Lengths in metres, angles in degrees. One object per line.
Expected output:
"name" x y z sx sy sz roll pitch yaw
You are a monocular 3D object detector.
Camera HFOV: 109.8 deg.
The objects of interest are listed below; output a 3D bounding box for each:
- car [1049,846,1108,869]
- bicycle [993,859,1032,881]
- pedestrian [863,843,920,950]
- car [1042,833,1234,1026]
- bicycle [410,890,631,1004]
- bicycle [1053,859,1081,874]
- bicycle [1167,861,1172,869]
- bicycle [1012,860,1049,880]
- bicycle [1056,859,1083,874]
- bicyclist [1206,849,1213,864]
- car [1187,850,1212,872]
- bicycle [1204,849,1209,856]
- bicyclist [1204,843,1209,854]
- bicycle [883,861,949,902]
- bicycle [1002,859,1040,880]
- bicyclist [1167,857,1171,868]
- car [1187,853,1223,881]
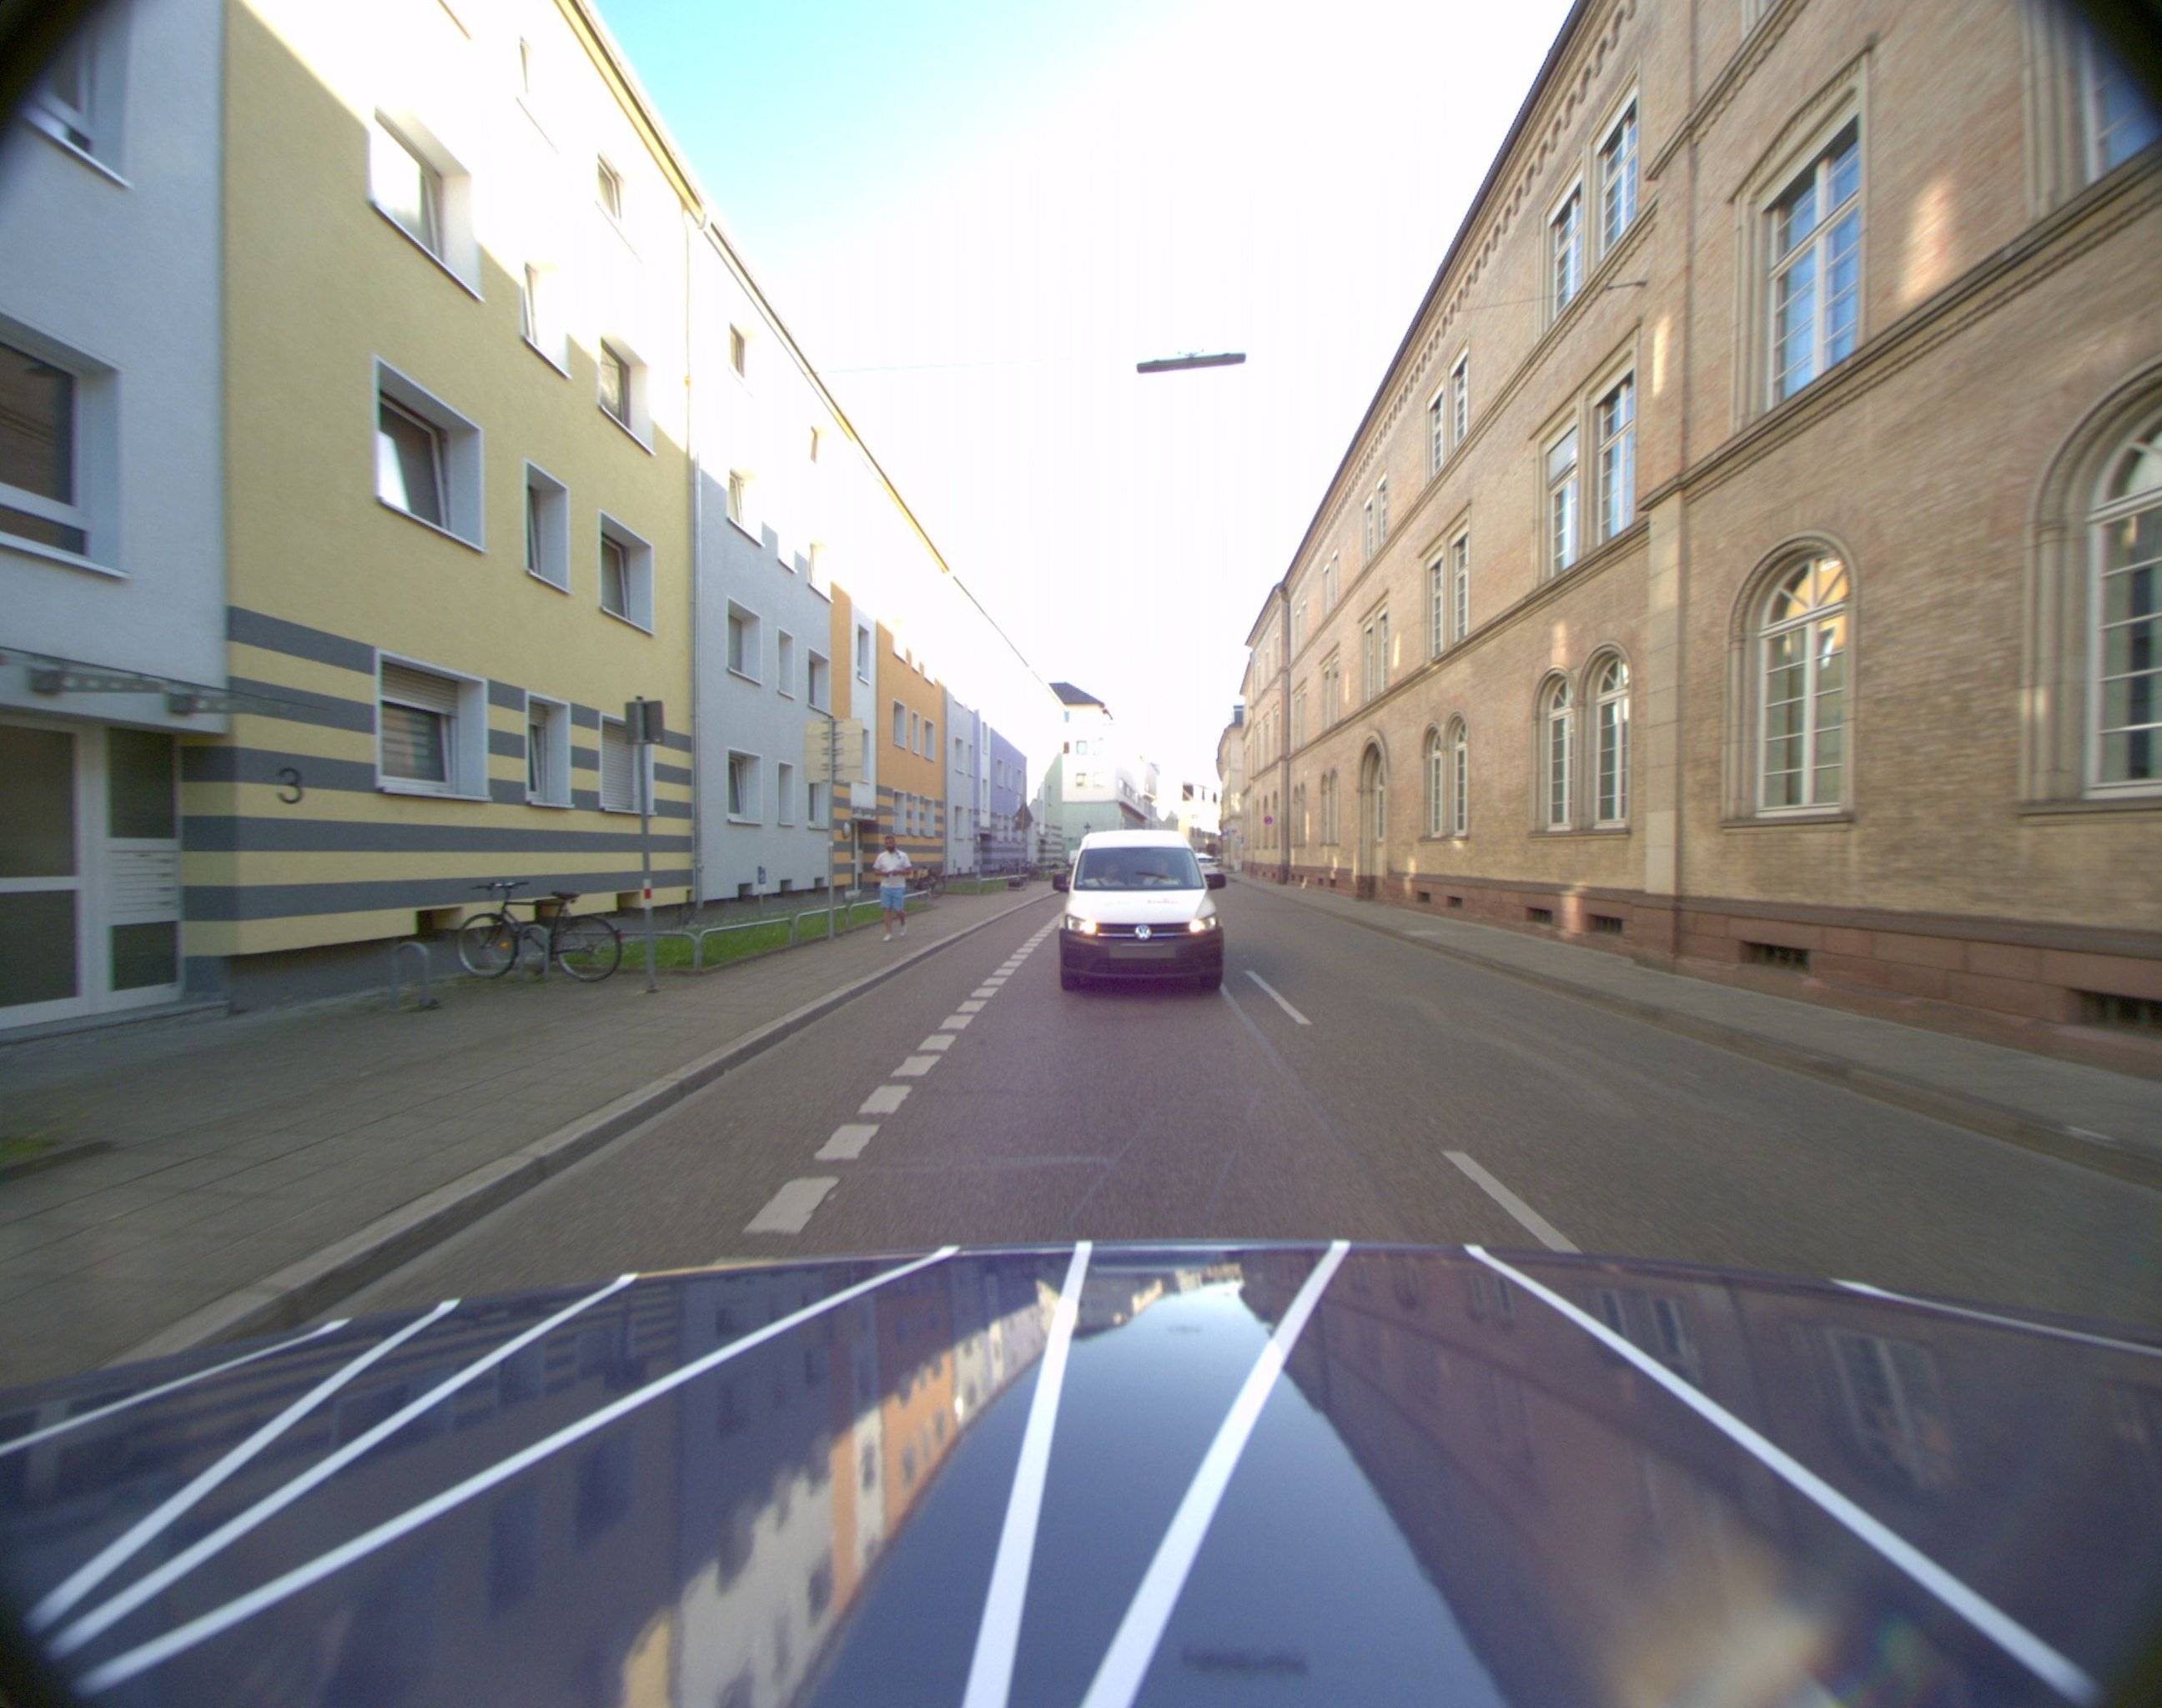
"car" -0.177 0.274 64.797 4.761 1.927 2.001 0 1 10
"bicycle" -3.310 0.784 36.774 1.775 0.990 0.584 2 1 9
"pedestrian" -3.057 0.665 12.327 0.644 1.662 0.834 1 1 4
"car" 0.649 0.703 9.893 1.819 1.826 5.341 0 0 2
"bicycle" -5.658 0.929 7.738 1.777 1.043 0.583 2 1 -3
"bicycle" -0.912 0.855 50.929 1.775 0.934 0.584 2 1 9
"bicycle" 8.740 1.077 75.181 0.348 0.719 1.118 0 1 12
"bicycle" -2.590 0.800 38.714 1.775 0.934 0.584 2 1 9
"bicycle" -0.790 0.875 52.464 1.775 0.934 0.584 2 1 9
"bicyclist" 12.688 0.229 74.881 0.604 1.434 0.578 0 1 6
"car" 9.129 0.516 58.603 1.688 1.573 4.277 2 1 7
"bicycle" 18.458 -0.229 111.521 0.651 1.001 1.877 3 1 11
"bicyclist" 18.487 -0.783 111.554 0.651 1.500 1.112 3 1 10
"bicycle" -4.782 0.794 22.051 1.776 1.118 0.583 2 1 0
"bicycle" -2.997 0.765 38.109 1.775 0.990 0.584 2 1 9
"bicyclist" 8.739 0.843 75.181 0.348 1.101 0.368 0 1 12
"car" 7.228 0.702 44.584 1.890 1.467 4.547 2 1 8
